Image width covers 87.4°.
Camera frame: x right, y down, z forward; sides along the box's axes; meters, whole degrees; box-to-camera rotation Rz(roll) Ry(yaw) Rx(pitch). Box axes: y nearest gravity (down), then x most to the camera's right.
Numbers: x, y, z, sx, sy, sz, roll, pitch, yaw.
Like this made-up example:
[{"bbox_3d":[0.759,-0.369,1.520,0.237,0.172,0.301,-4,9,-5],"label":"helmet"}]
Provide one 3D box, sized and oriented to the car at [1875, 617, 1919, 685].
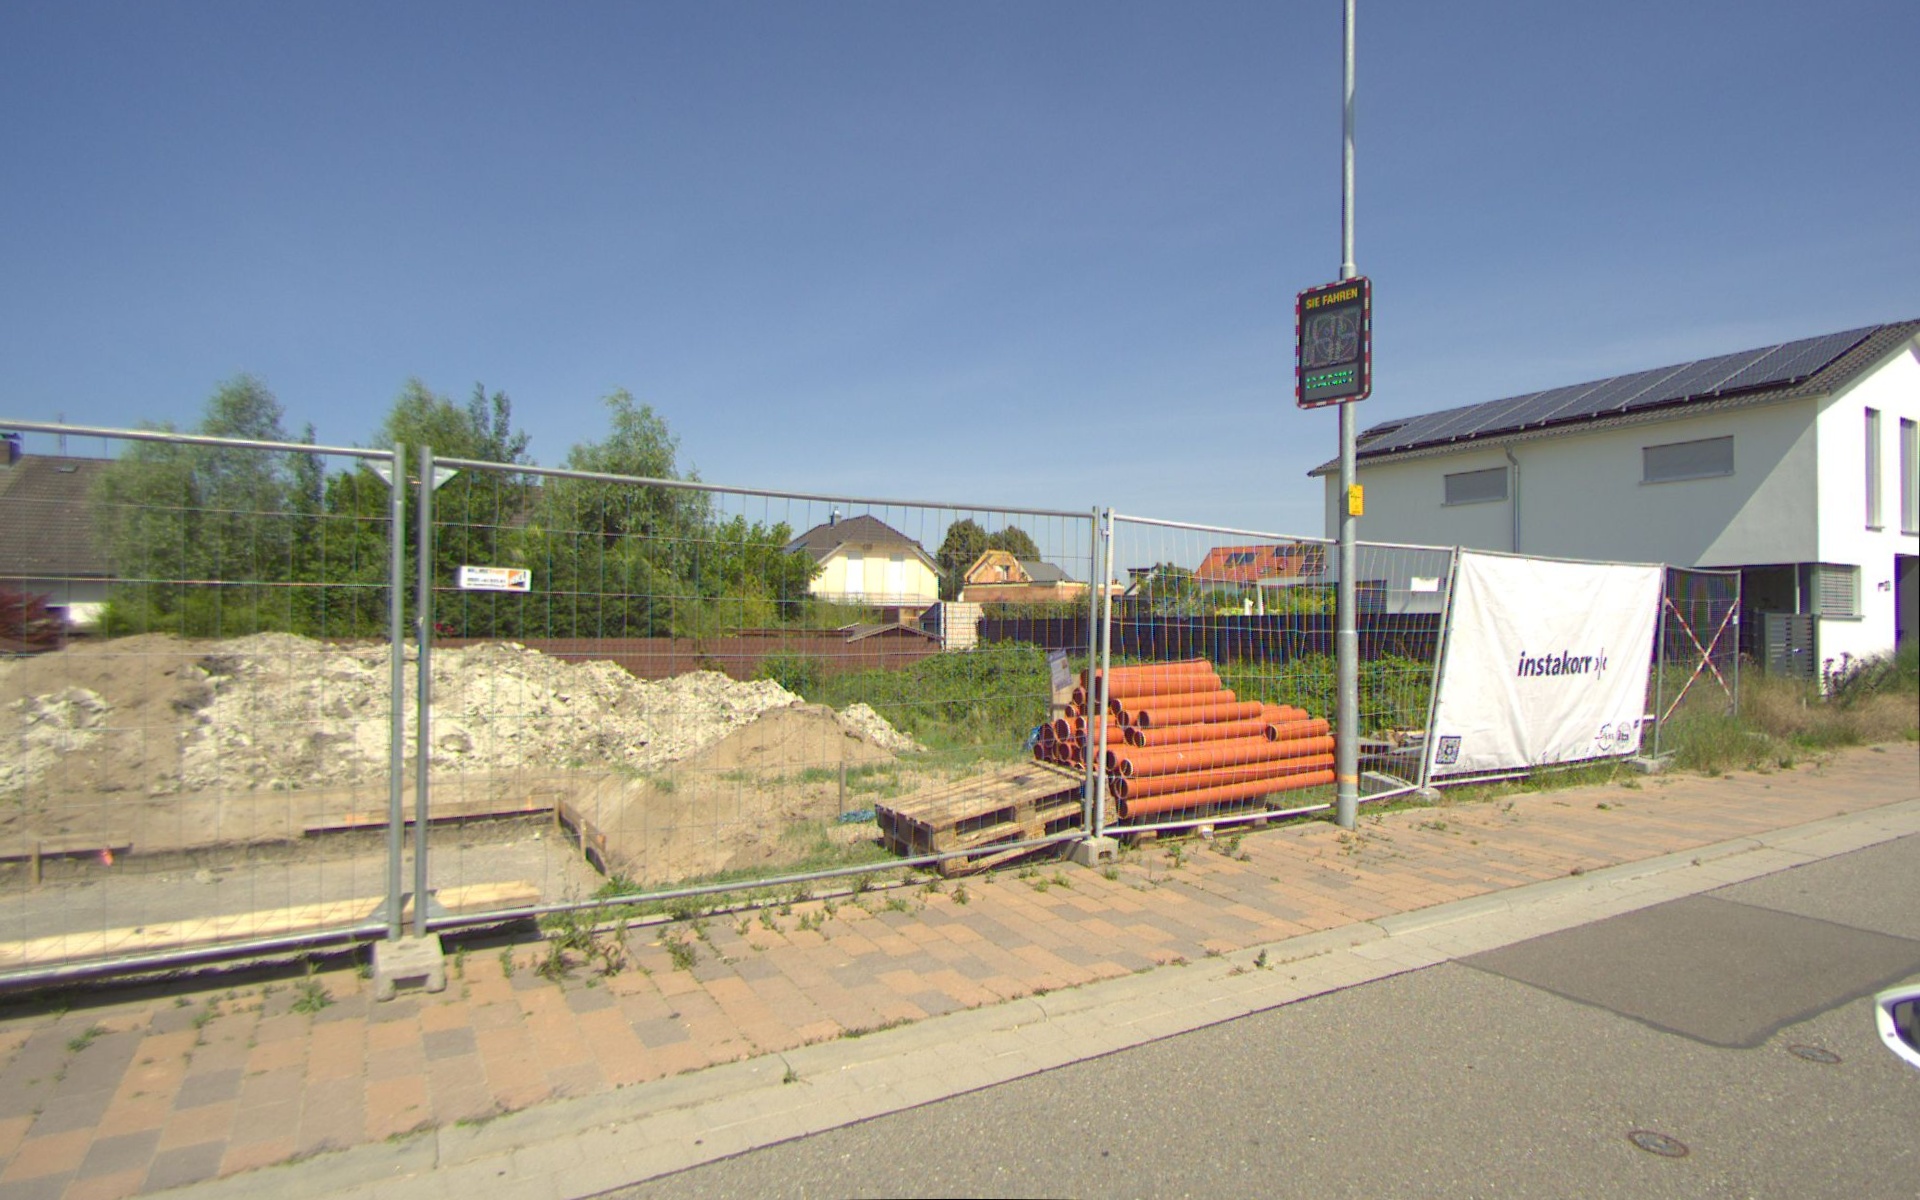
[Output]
[{"bbox_3d":[24.418,1.247,23.546,1.759,1.602,4.057,0,0,-24],"label":"car"}]
